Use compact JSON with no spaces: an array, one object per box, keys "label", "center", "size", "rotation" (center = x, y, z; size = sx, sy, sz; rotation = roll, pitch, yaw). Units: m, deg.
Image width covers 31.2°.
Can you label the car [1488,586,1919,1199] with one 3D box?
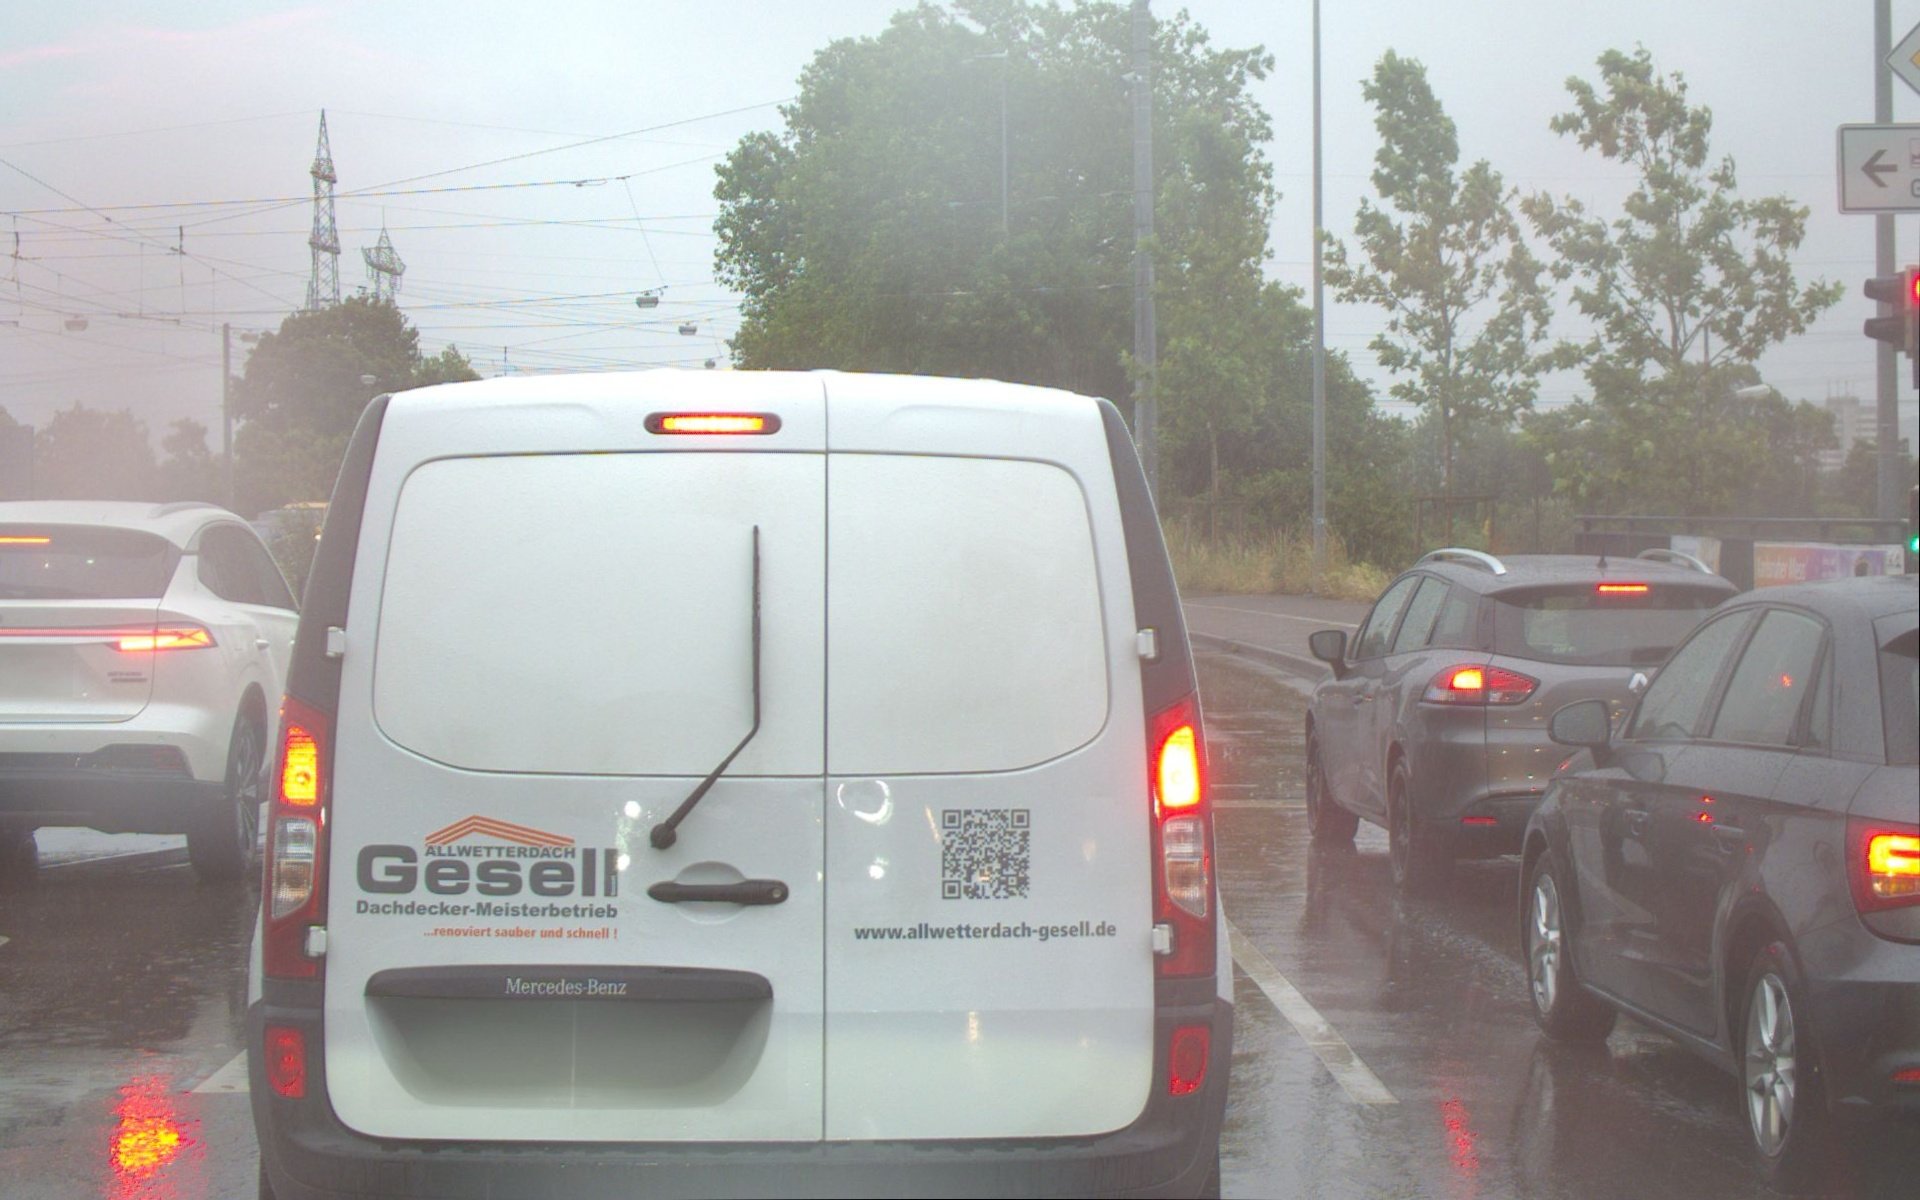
[{"label":"car","center":[2.522,0.660,8.930],"size":[1.629,1.340,3.624],"rotation":[1,1,-2]}]

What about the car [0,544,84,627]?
[{"label":"car","center":[-21.345,-0.344,77.434],"size":[1.929,1.820,3.999],"rotation":[1,1,4]}]

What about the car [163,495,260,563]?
[{"label":"car","center":[-22.626,-2.125,104.030],"size":[1.993,2.007,4.000],"rotation":[1,1,1]}]

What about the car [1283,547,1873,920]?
[{"label":"car","center":[2.633,0.504,15.555],"size":[1.859,1.424,3.808],"rotation":[1,1,-2]}]

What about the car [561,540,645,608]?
[{"label":"car","center":[-8.185,-0.610,78.529],"size":[1.614,1.498,3.716],"rotation":[1,1,-10]}]

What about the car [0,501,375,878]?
[{"label":"car","center":[-3.934,0.306,16.178],"size":[1.728,1.530,4.298],"rotation":[1,1,-2]}]

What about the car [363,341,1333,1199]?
[{"label":"car","center":[-0.204,0.450,7.580],"size":[1.566,1.782,4.000],"rotation":[0,1,-1]}]
